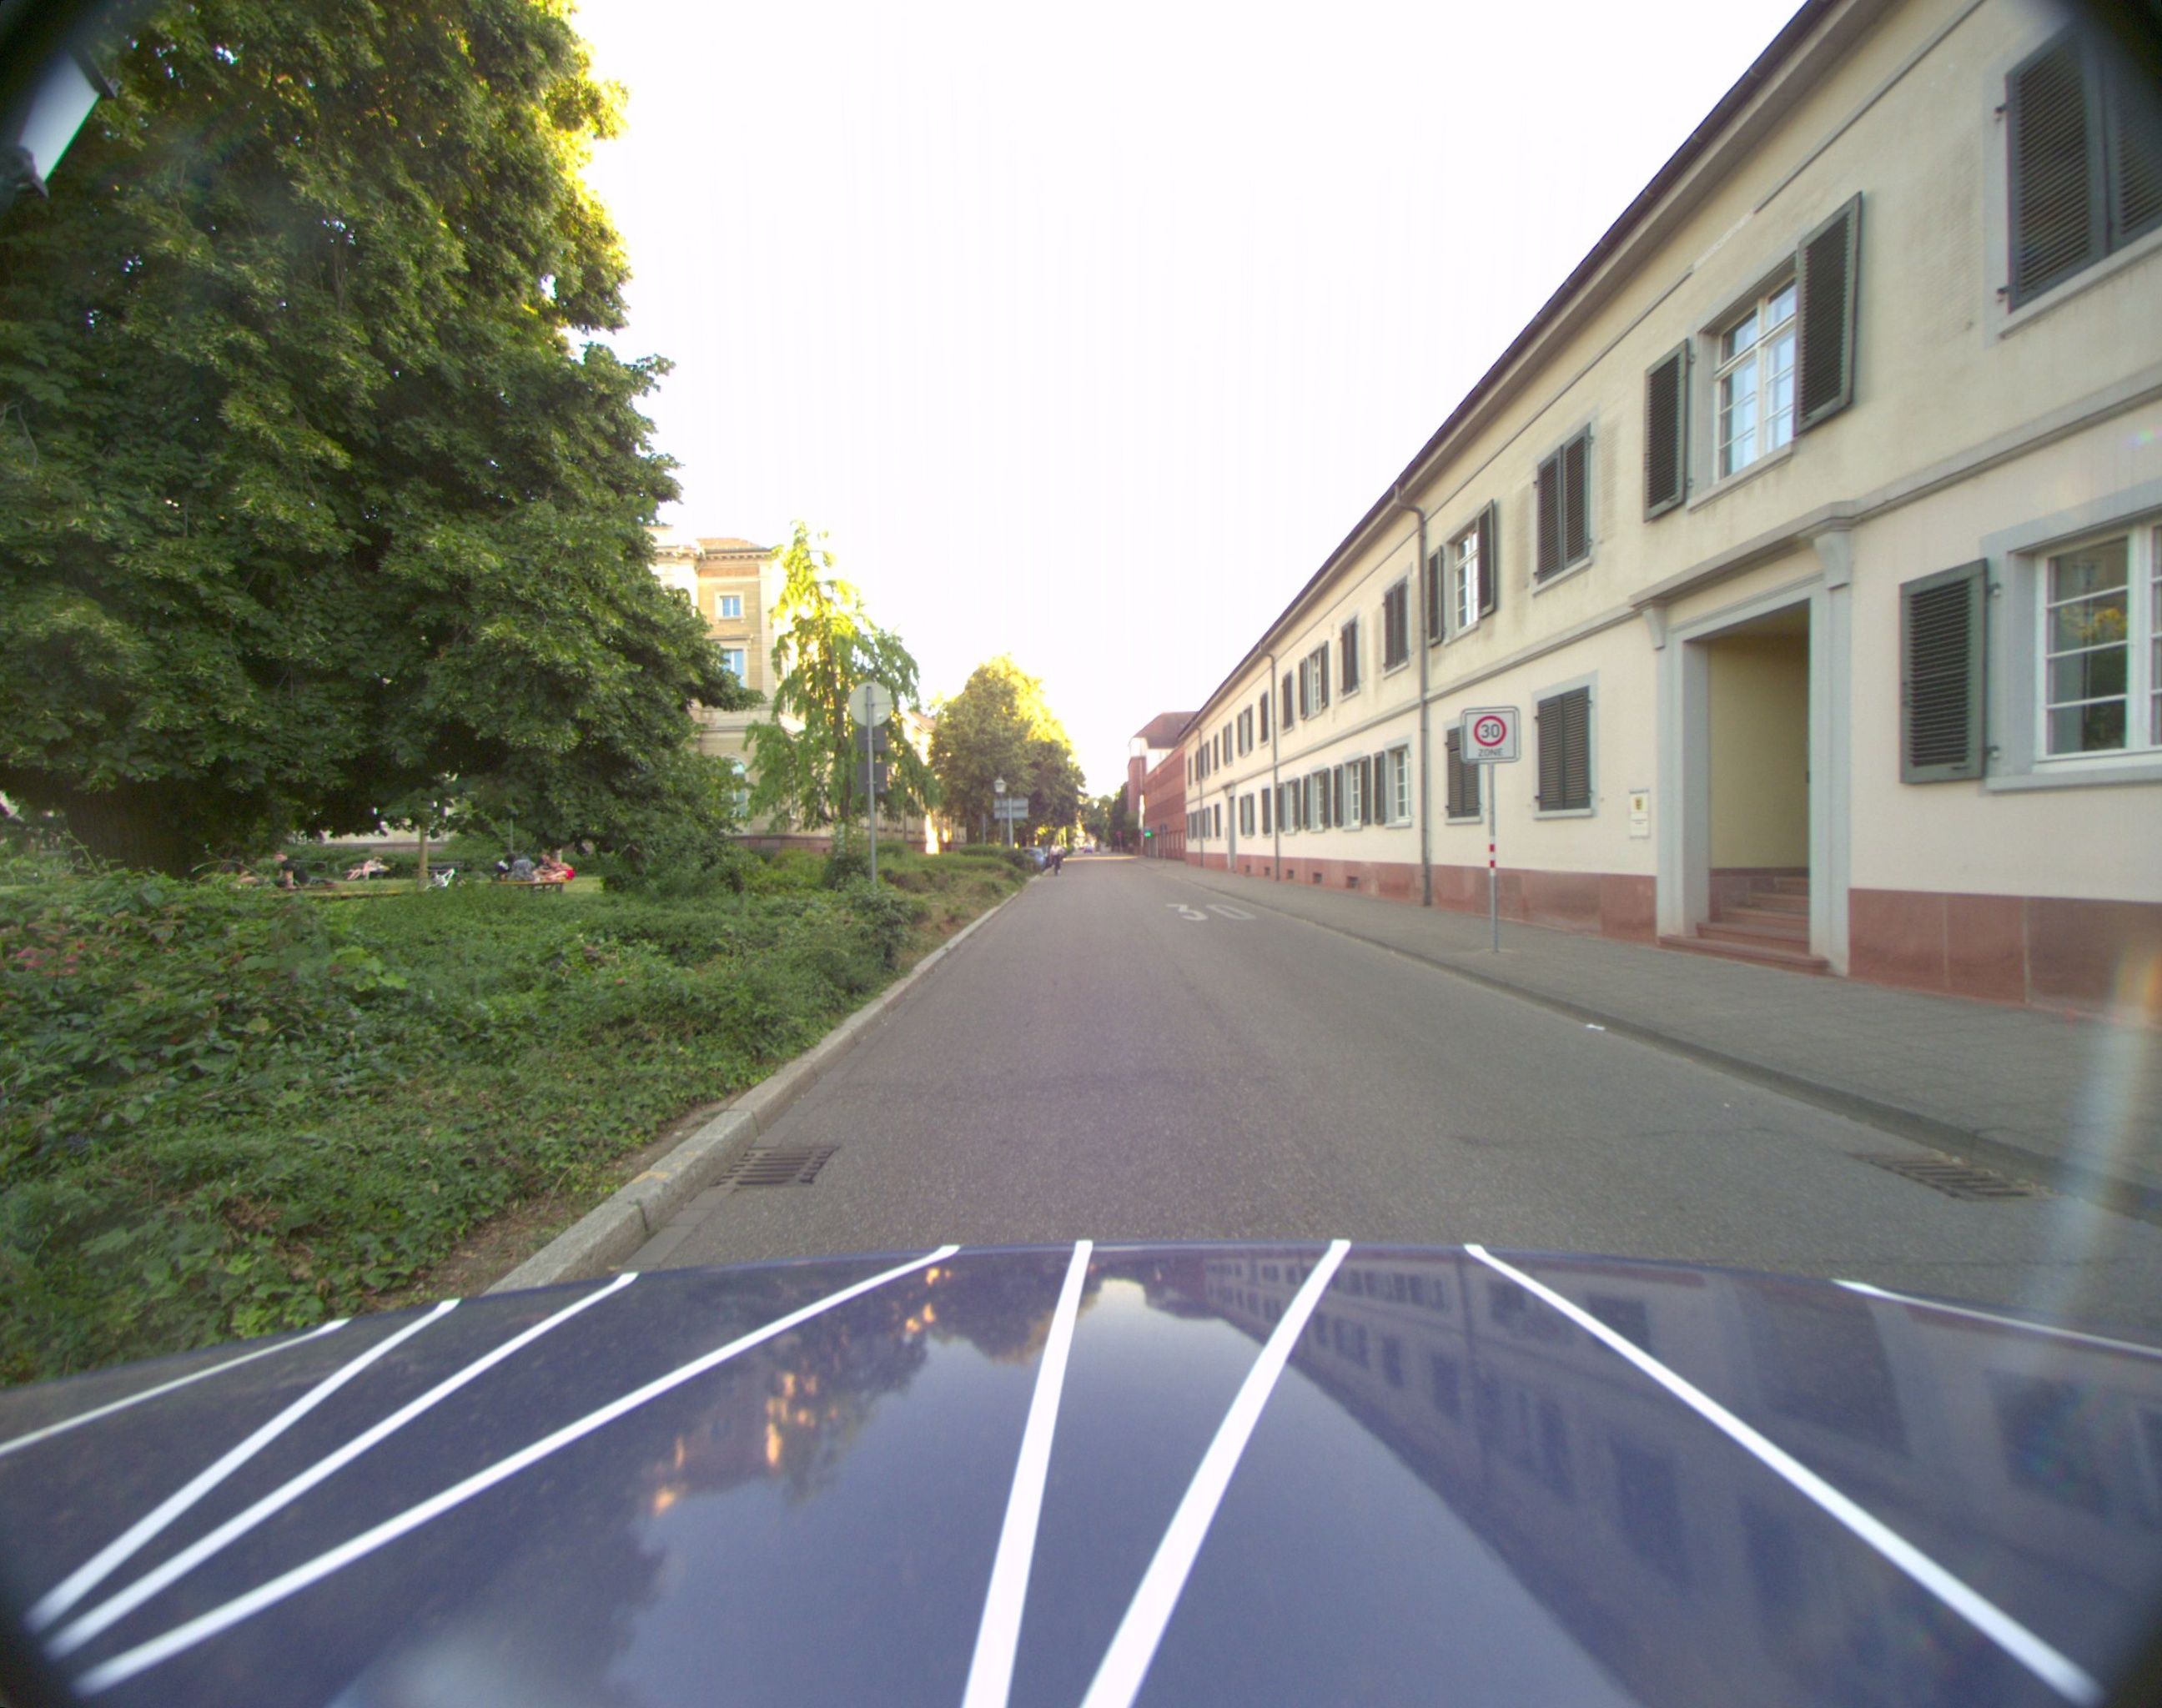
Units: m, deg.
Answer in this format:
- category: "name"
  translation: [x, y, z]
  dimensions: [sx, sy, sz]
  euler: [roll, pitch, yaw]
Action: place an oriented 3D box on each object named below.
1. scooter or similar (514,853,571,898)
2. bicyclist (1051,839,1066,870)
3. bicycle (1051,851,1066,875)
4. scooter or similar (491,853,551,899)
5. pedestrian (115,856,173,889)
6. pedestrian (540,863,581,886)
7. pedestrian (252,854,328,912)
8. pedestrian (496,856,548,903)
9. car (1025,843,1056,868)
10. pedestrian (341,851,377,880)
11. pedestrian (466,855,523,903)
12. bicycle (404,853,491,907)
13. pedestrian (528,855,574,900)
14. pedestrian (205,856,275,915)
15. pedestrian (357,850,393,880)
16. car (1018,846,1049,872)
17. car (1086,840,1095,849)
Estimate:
- category: "scooter or similar"
  translation: [-15.270, 0.592, 21.576]
  dimensions: [1.221, 1.238, 0.418]
  euler: [-1, 2, -12]
- category: "bicyclist"
  translation: [-1.177, 0.030, 39.771]
  dimensions: [0.753, 1.603, 1.038]
  euler: [0, 1, -2]
- category: "bicycle"
  translation: [-1.197, 0.452, 39.759]
  dimensions: [0.753, 1.245, 2.209]
  euler: [0, 0, -2]
- category: "scooter or similar"
  translation: [-15.429, 0.599, 20.960]
  dimensions: [1.221, 1.238, 0.417]
  euler: [-1, 2, -16]
- category: "pedestrian"
  translation: [-44.950, 0.875, 36.487]
  dimensions: [0.802, 1.547, 1.567]
  euler: [0, 1, 1]
- category: "pedestrian"
  translation: [-13.946, 0.537, 20.390]
  dimensions: [0.542, 0.546, 1.375]
  euler: [2, 0, -19]
- category: "pedestrian"
  translation: [-19.001, 0.682, 18.276]
  dimensions: [0.920, 1.340, 0.883]
  euler: [-1, 1, -15]
- category: "pedestrian"
  translation: [-14.414, 0.641, 19.610]
  dimensions: [0.724, 1.185, 0.747]
  euler: [0, 1, 3]
- category: "car"
  translation: [-2.843, 0.045, 54.030]
  dimensions: [1.728, 1.642, 4.713]
  euler: [0, 2, 3]
- category: "pedestrian"
  translation: [-34.732, 0.550, 36.583]
  dimensions: [0.695, 1.389, 1.044]
  euler: [0, 1, 1]
- category: "pedestrian"
  translation: [-15.193, 0.638, 19.695]
  dimensions: [0.808, 1.185, 0.789]
  euler: [0, 1, 3]
- category: "bicycle"
  translation: [-16.354, 0.631, 19.687]
  dimensions: [0.621, 1.292, 2.018]
  euler: [-1, 1, -4]
- category: "pedestrian"
  translation: [-14.613, 0.629, 20.974]
  dimensions: [0.663, 1.185, 0.796]
  euler: [0, 2, 28]
- category: "pedestrian"
  translation: [-19.810, 0.729, 17.917]
  dimensions: [0.762, 1.340, 0.786]
  euler: [-1, 2, -16]
- category: "pedestrian"
  translation: [-33.850, 0.518, 36.439]
  dimensions: [0.695, 1.389, 1.044]
  euler: [0, 1, 1]
- category: "car"
  translation: [-2.963, 0.292, 48.286]
  dimensions: [1.728, 1.480, 4.609]
  euler: [3, 1, -1]
- category: "car"
  translation: [2.169, -2.059, 174.174]
  dimensions: [1.998, 1.863, 5.110]
  euler: [-1, -1, 2]
